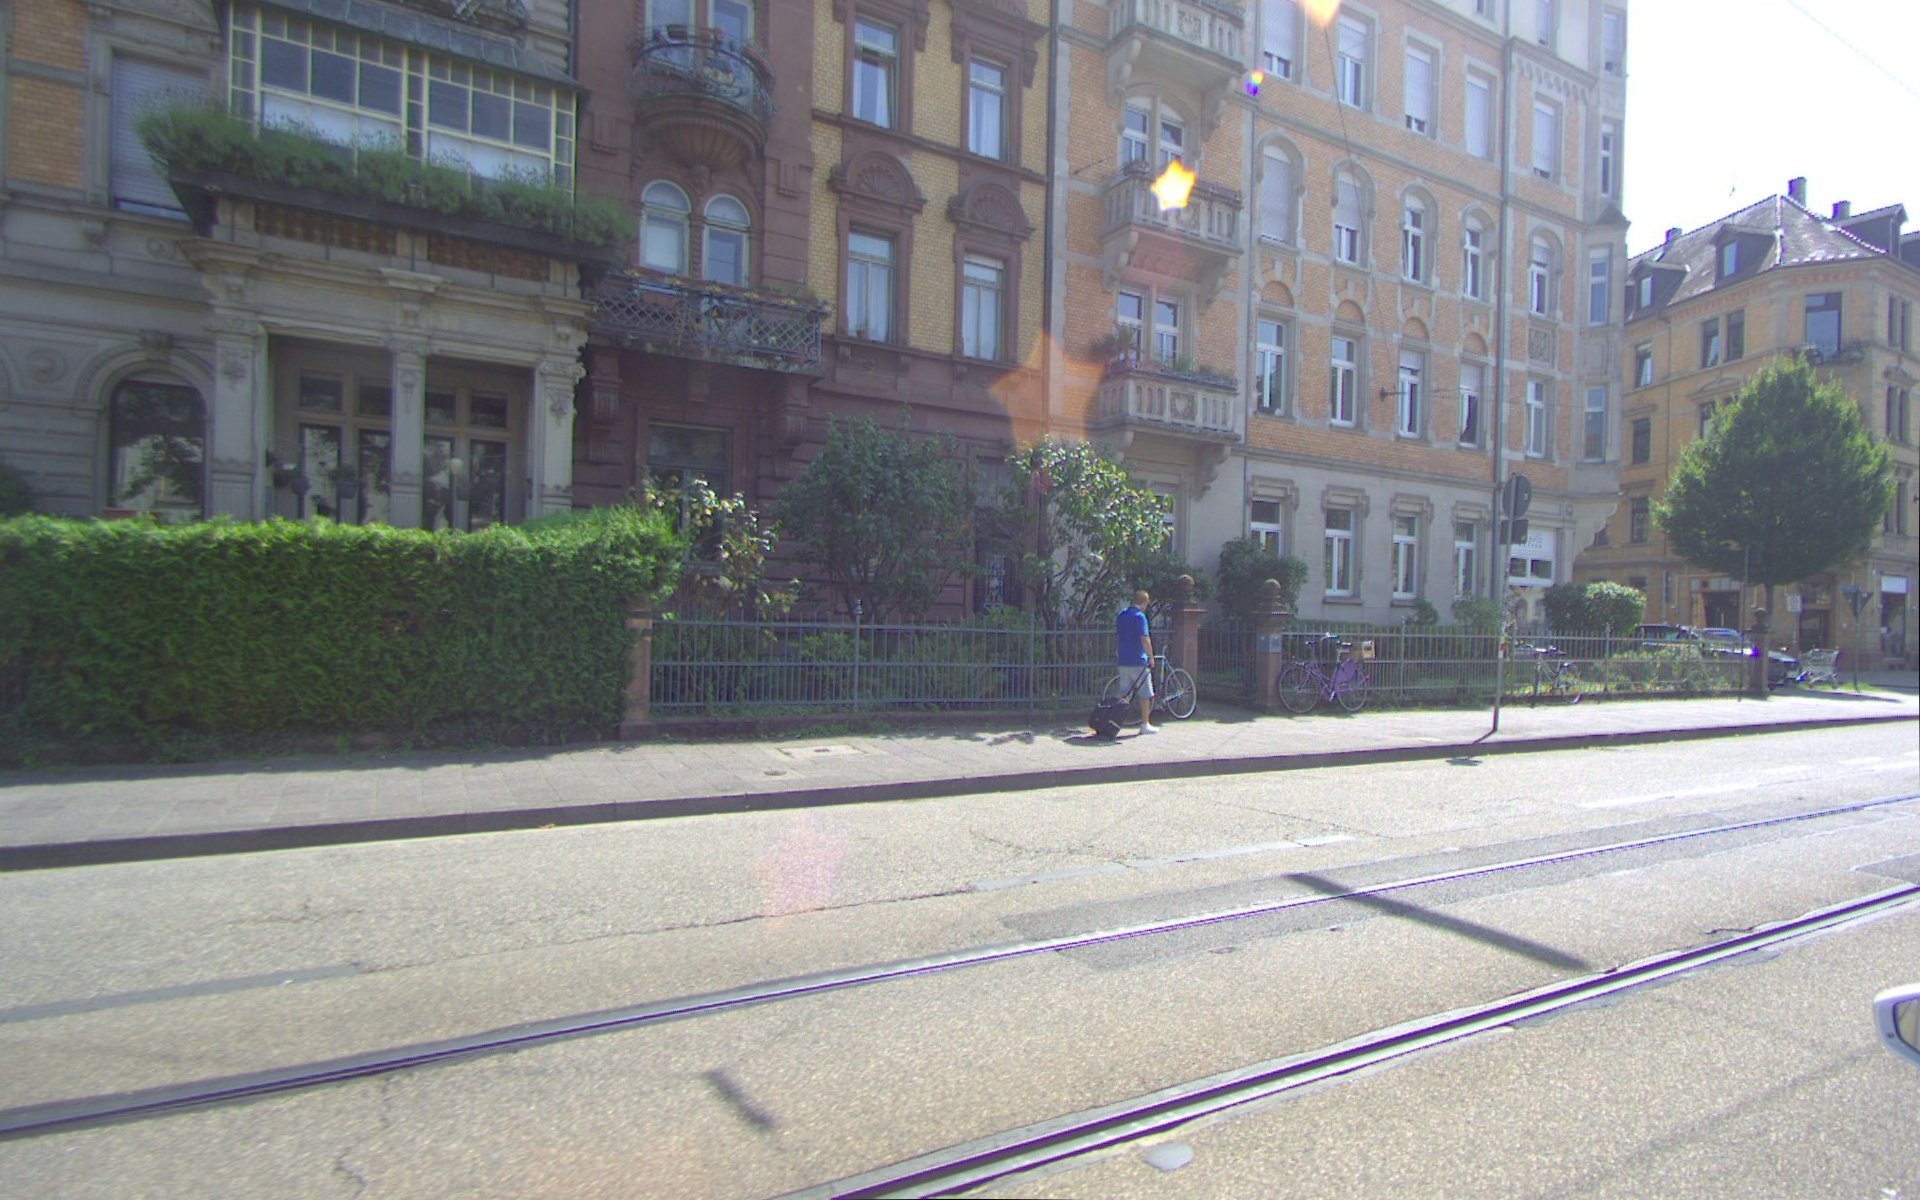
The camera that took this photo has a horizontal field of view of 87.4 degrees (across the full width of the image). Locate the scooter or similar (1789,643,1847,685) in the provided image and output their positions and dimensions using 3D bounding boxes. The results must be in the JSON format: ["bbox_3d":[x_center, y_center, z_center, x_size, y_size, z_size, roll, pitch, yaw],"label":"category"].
[{"bbox_3d":[23.799,1.765,27.853,1.368,1.113,0.595,1,1,-19],"label":"scooter or similar"}]

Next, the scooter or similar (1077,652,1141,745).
[{"bbox_3d":[1.702,1.111,11.449,0.579,0.995,0.397,2,1,-37],"label":"scooter or similar"}]

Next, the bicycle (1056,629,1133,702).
[{"bbox_3d":[2.076,0.992,15.643,0.387,1.046,1.392,1,0,-31],"label":"bicycle"}]

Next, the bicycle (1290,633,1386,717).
[{"bbox_3d":[5.544,1.077,14.704,1.562,1.163,0.388,1,0,-29],"label":"bicycle"}]

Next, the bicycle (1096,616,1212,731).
[{"bbox_3d":[2.520,0.929,12.999,1.562,1.424,0.388,1,0,-29],"label":"bicycle"}]

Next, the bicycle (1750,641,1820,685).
[{"bbox_3d":[22.519,1.712,27.442,1.429,1.113,0.389,1,1,39],"label":"bicycle"}]

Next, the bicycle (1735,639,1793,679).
[{"bbox_3d":[23.470,1.714,29.339,1.424,1.113,0.390,1,1,-4],"label":"bicycle"}]

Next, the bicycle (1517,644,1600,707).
[{"bbox_3d":[10.515,1.307,17.632,1.811,1.052,0.388,1,0,-29],"label":"bicycle"}]

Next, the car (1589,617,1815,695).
[{"bbox_3d":[18.214,1.312,24.861,1.855,1.615,4.086,2,0,-27],"label":"car"}]

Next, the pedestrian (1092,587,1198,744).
[{"bbox_3d":[2.202,0.749,12.007,0.859,1.779,0.879,1,0,-29],"label":"pedestrian"}]
